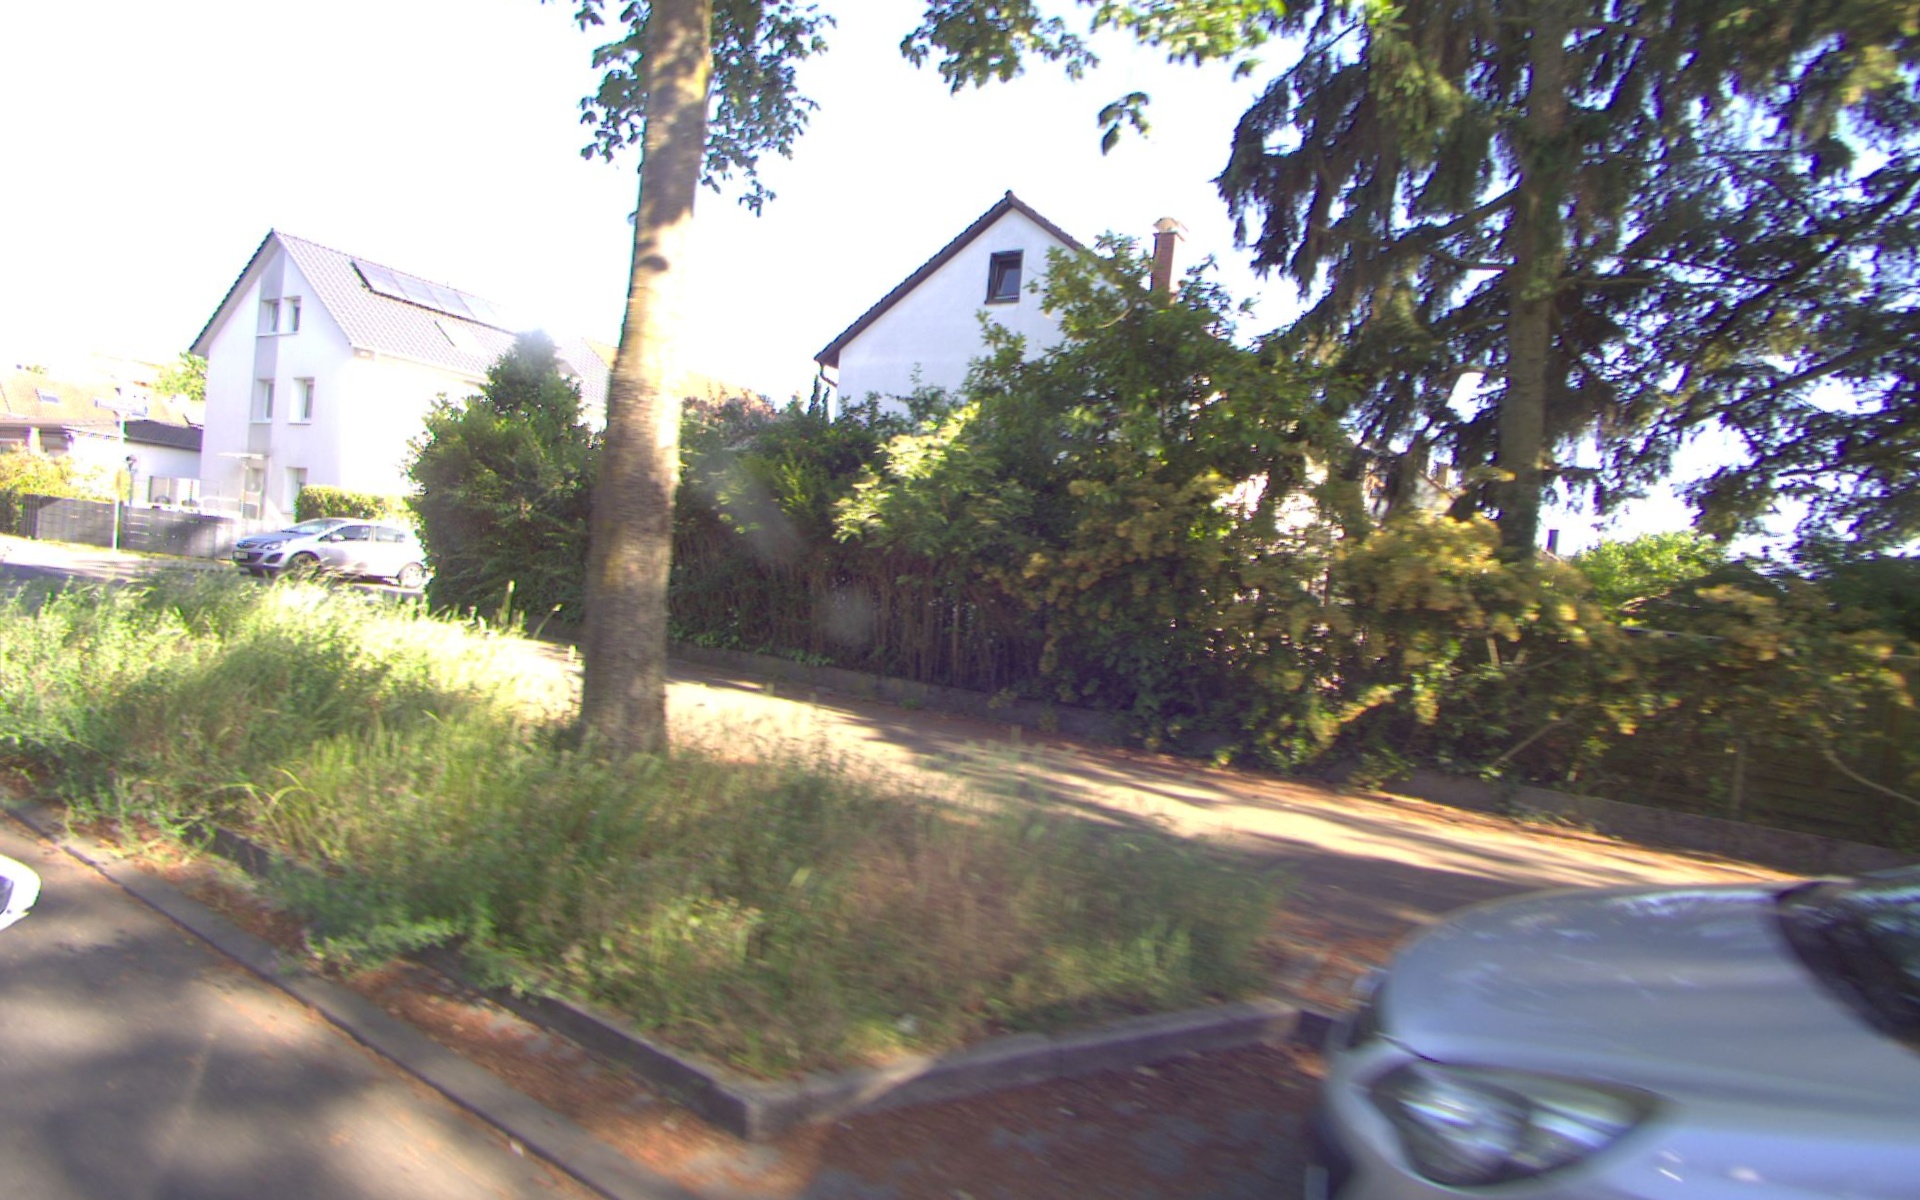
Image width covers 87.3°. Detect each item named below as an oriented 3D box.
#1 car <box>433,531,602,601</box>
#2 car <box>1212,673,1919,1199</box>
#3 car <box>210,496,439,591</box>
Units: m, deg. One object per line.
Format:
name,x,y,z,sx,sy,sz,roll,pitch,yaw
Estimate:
car,-11.881,-0.875,27.245,1.818,1.463,3.751,7,1,30
car,2.618,1.110,1.398,3.942,1.530,1.990,6,1,39
car,-14.306,-1.221,22.893,1.745,1.661,3.994,7,1,26
